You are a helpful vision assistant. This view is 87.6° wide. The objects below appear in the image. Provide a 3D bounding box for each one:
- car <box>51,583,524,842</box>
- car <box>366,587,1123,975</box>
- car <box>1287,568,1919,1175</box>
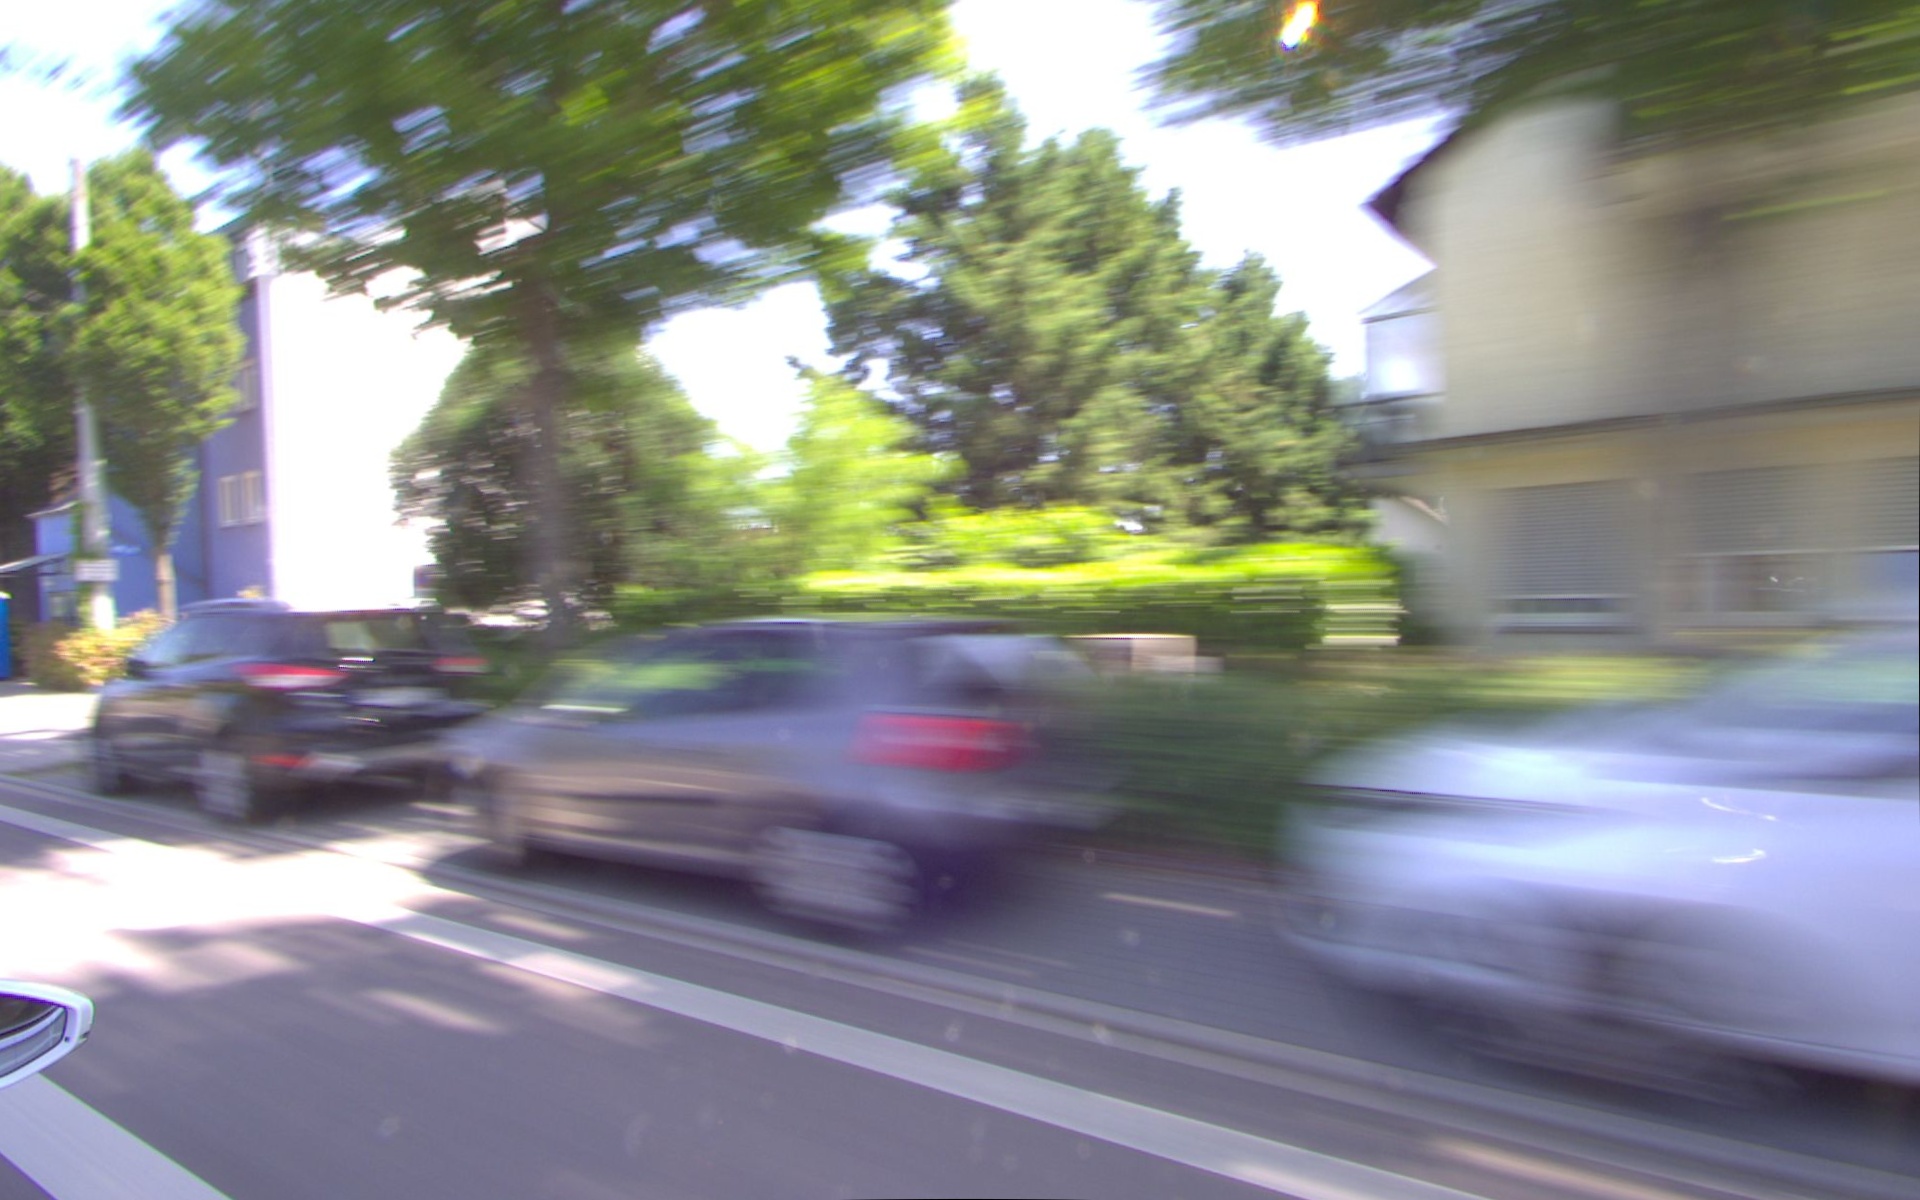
[{"bbox_3d":[-6.120,0.789,8.953,4.562,1.730,1.835,0,3,34],"label":"car"},{"bbox_3d":[-1.384,0.769,6.015,4.288,1.551,1.837,-1,3,30],"label":"car"},{"bbox_3d":[3.362,0.694,3.174,4.142,1.551,1.837,-1,3,30],"label":"car"}]
